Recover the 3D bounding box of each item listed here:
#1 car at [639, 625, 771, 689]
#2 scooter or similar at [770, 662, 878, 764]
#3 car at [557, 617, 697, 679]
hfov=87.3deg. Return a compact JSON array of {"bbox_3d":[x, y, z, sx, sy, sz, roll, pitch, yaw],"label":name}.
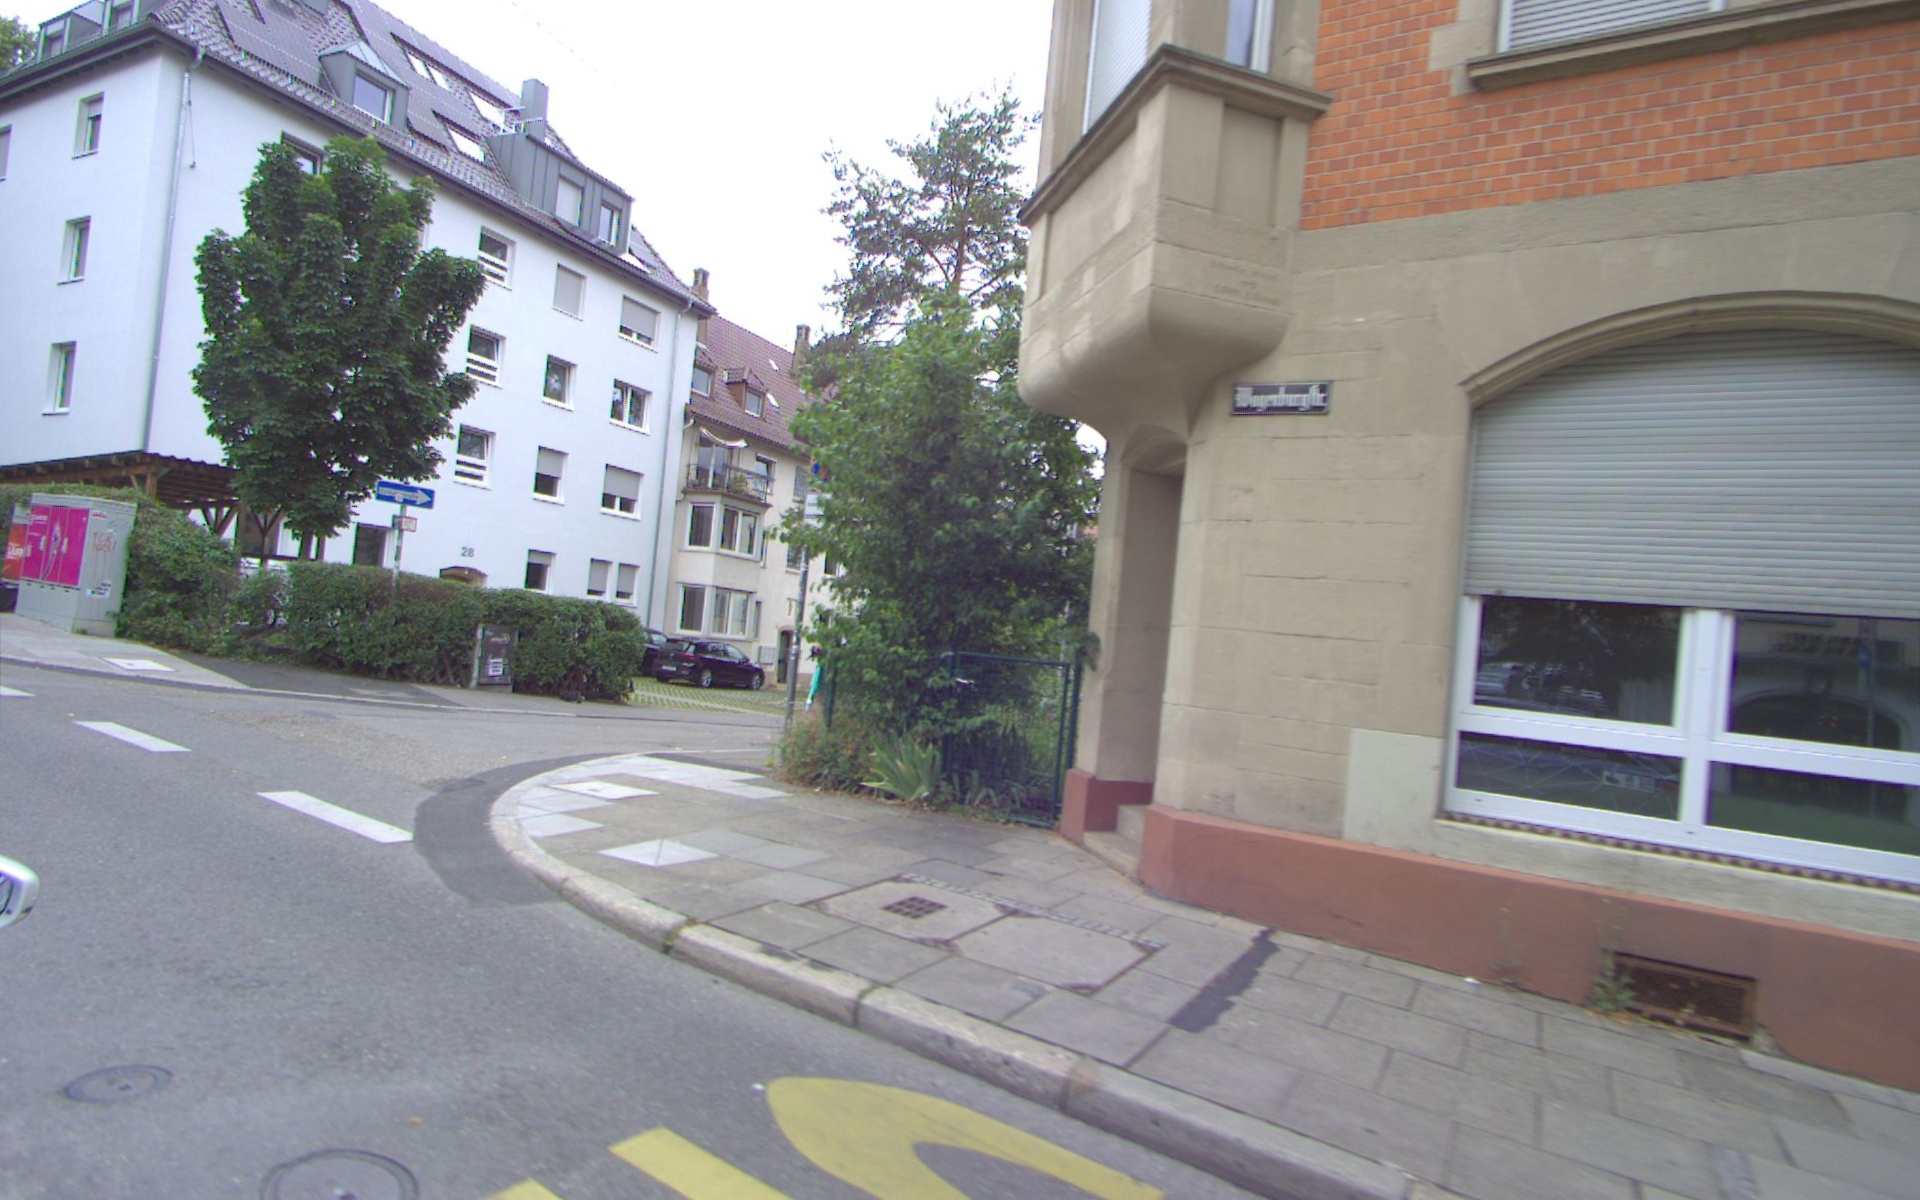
[{"bbox_3d":[-7.760,1.816,31.016,1.962,1.569,4.006,6,-3,18],"label":"car"},{"bbox_3d":[-1.477,1.253,11.106,0.408,1.027,1.238,5,-3,29],"label":"scooter or similar"},{"bbox_3d":[-10.401,1.559,31.735,1.963,1.570,4.002,6,-2,21],"label":"car"}]
